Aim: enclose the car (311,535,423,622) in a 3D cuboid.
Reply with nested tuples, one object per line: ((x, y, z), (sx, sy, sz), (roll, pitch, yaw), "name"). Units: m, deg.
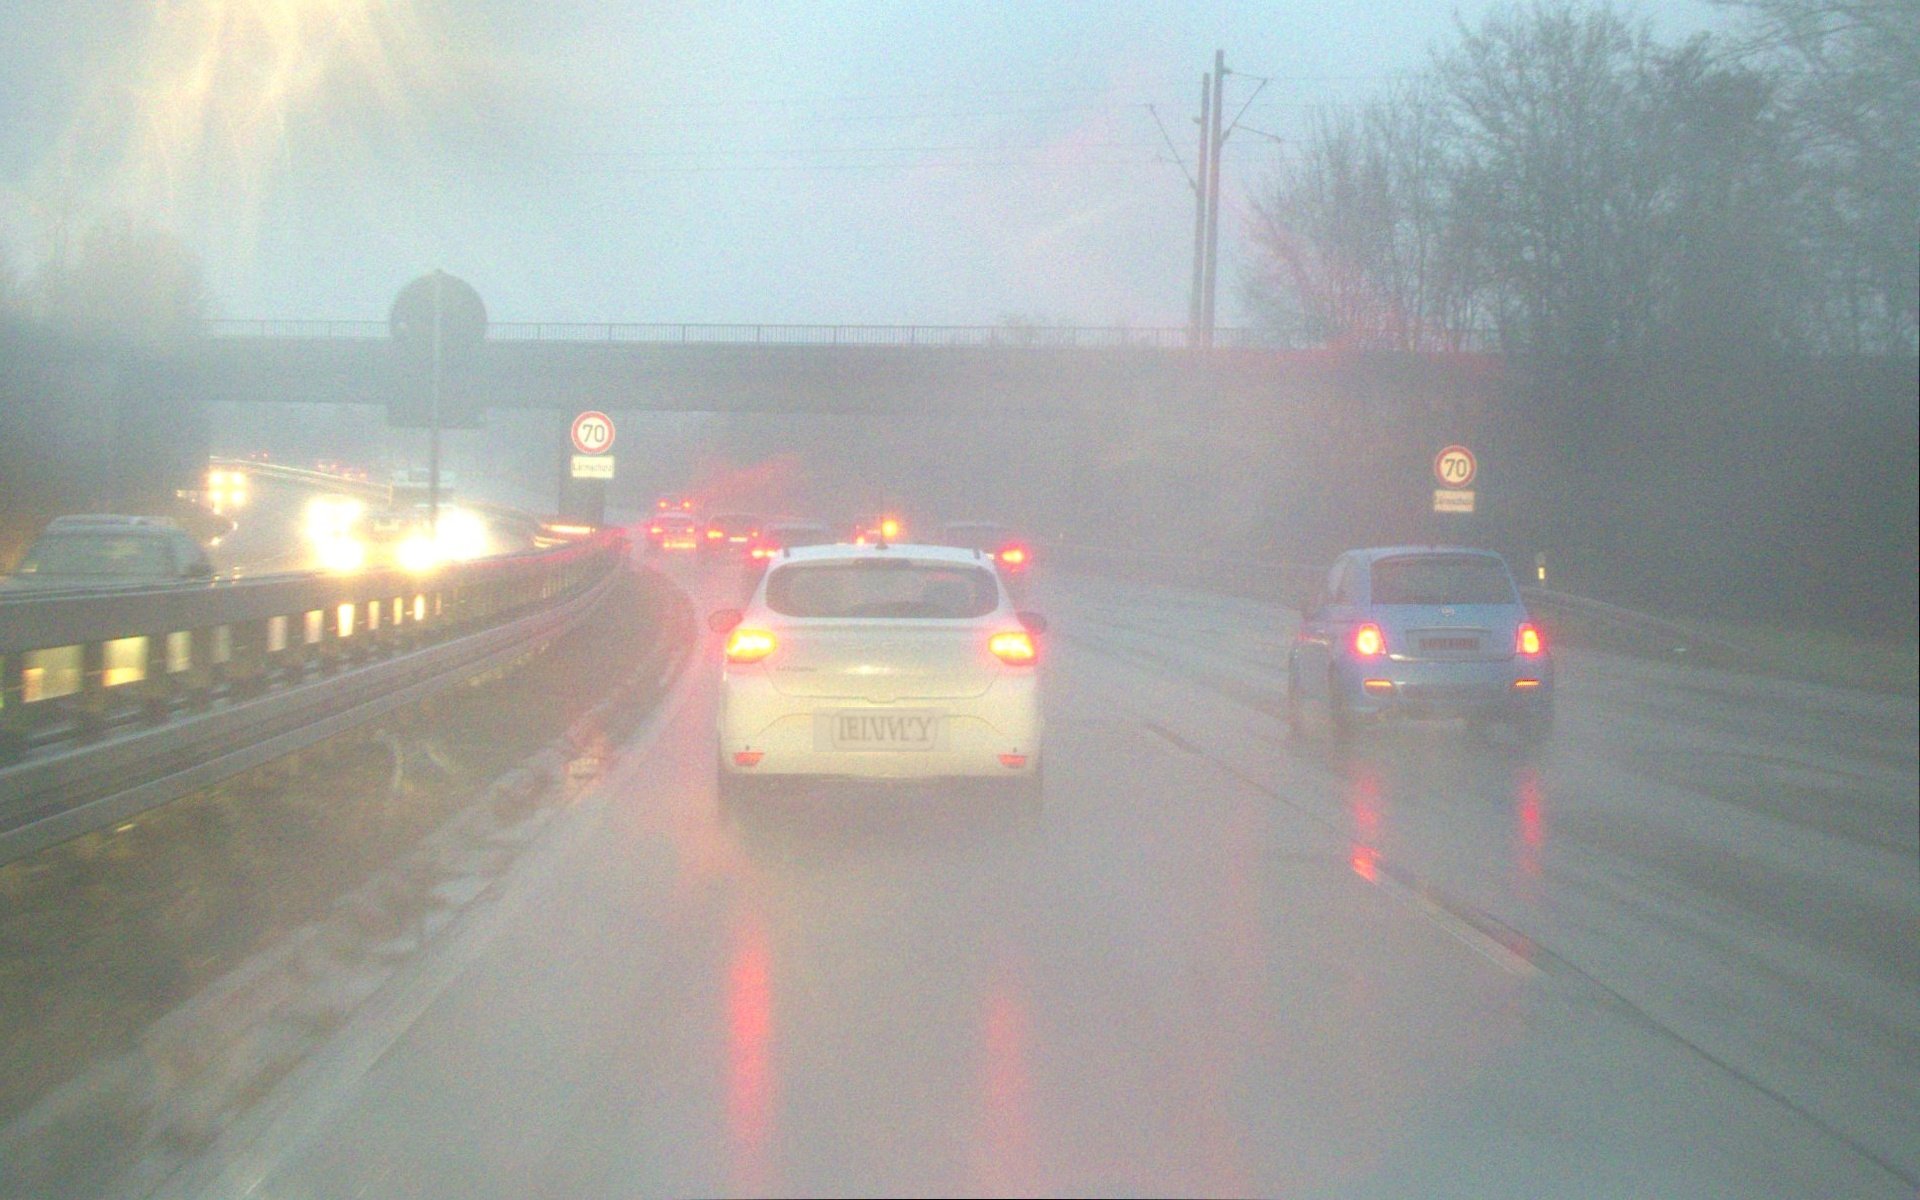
((-12.027, -0.443, 69.939), (1.766, 1.678, 4.000), (1, 0, -3), "car")

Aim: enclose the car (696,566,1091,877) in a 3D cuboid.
((-0.330, 0.622, 19.950), (2.025, 1.569, 4.000), (1, 0, 1), "car")

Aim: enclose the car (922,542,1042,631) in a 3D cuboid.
((0.406, -0.255, 68.312), (1.932, 1.541, 3.774), (-4, -1, -5), "car")

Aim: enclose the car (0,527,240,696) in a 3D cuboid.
((-7.982, 0.083, 32.017), (1.754, 1.436, 4.000), (1, 0, -1), "car")

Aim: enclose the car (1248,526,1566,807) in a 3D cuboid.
((3.438, 0.478, 27.117), (1.932, 2.012, 3.773), (1, 0, -1), "car")

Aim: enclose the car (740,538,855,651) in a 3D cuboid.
((-3.089, -0.111, 64.566), (1.993, 2.007, 4.001), (1, 0, -4), "car")
